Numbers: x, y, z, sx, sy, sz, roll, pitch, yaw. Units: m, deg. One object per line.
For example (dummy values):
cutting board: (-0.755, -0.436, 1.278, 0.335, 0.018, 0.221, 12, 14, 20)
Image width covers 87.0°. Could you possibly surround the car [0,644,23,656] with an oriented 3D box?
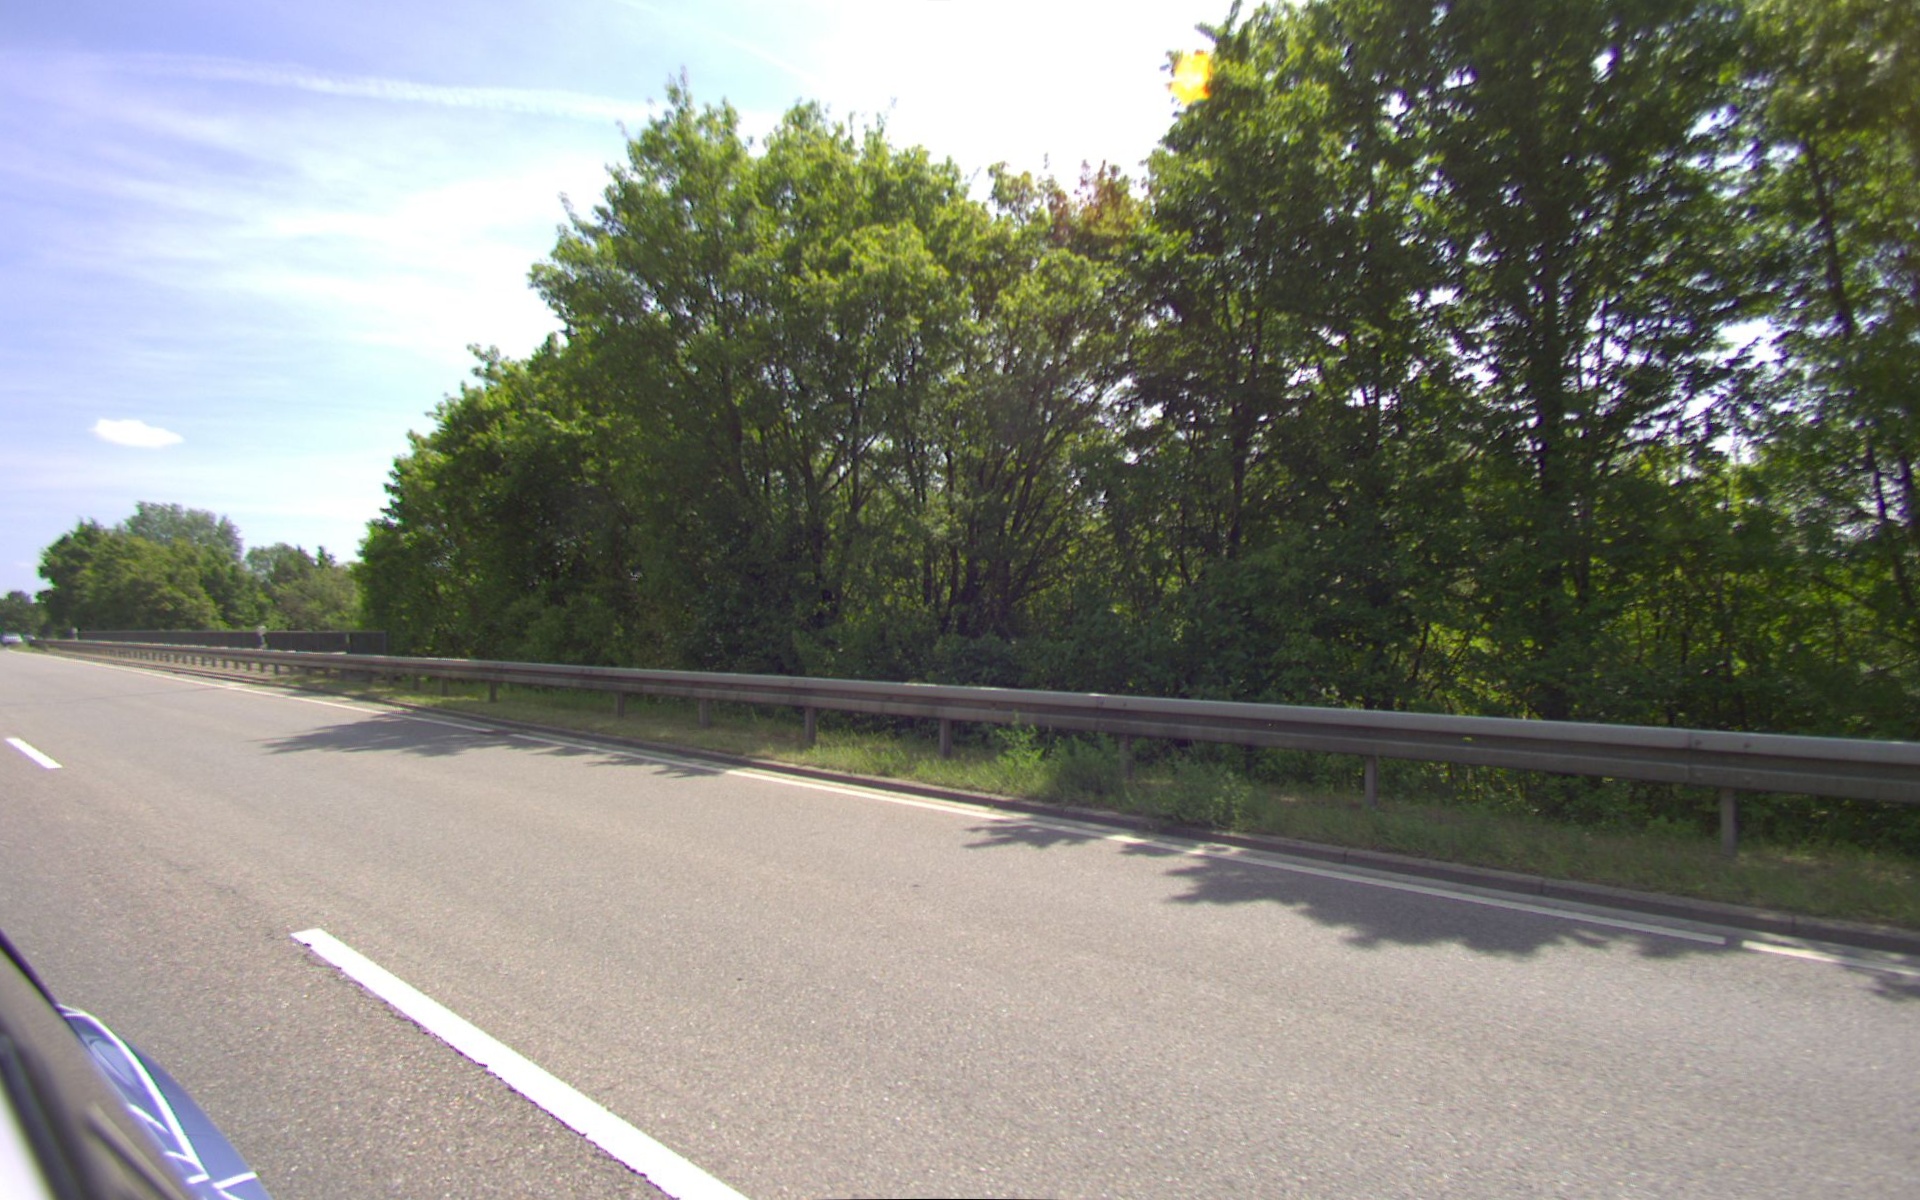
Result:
car: (-120.244, 6.329, 128.144, 1.855, 1.523, 4.552, 0, -2, -38)
